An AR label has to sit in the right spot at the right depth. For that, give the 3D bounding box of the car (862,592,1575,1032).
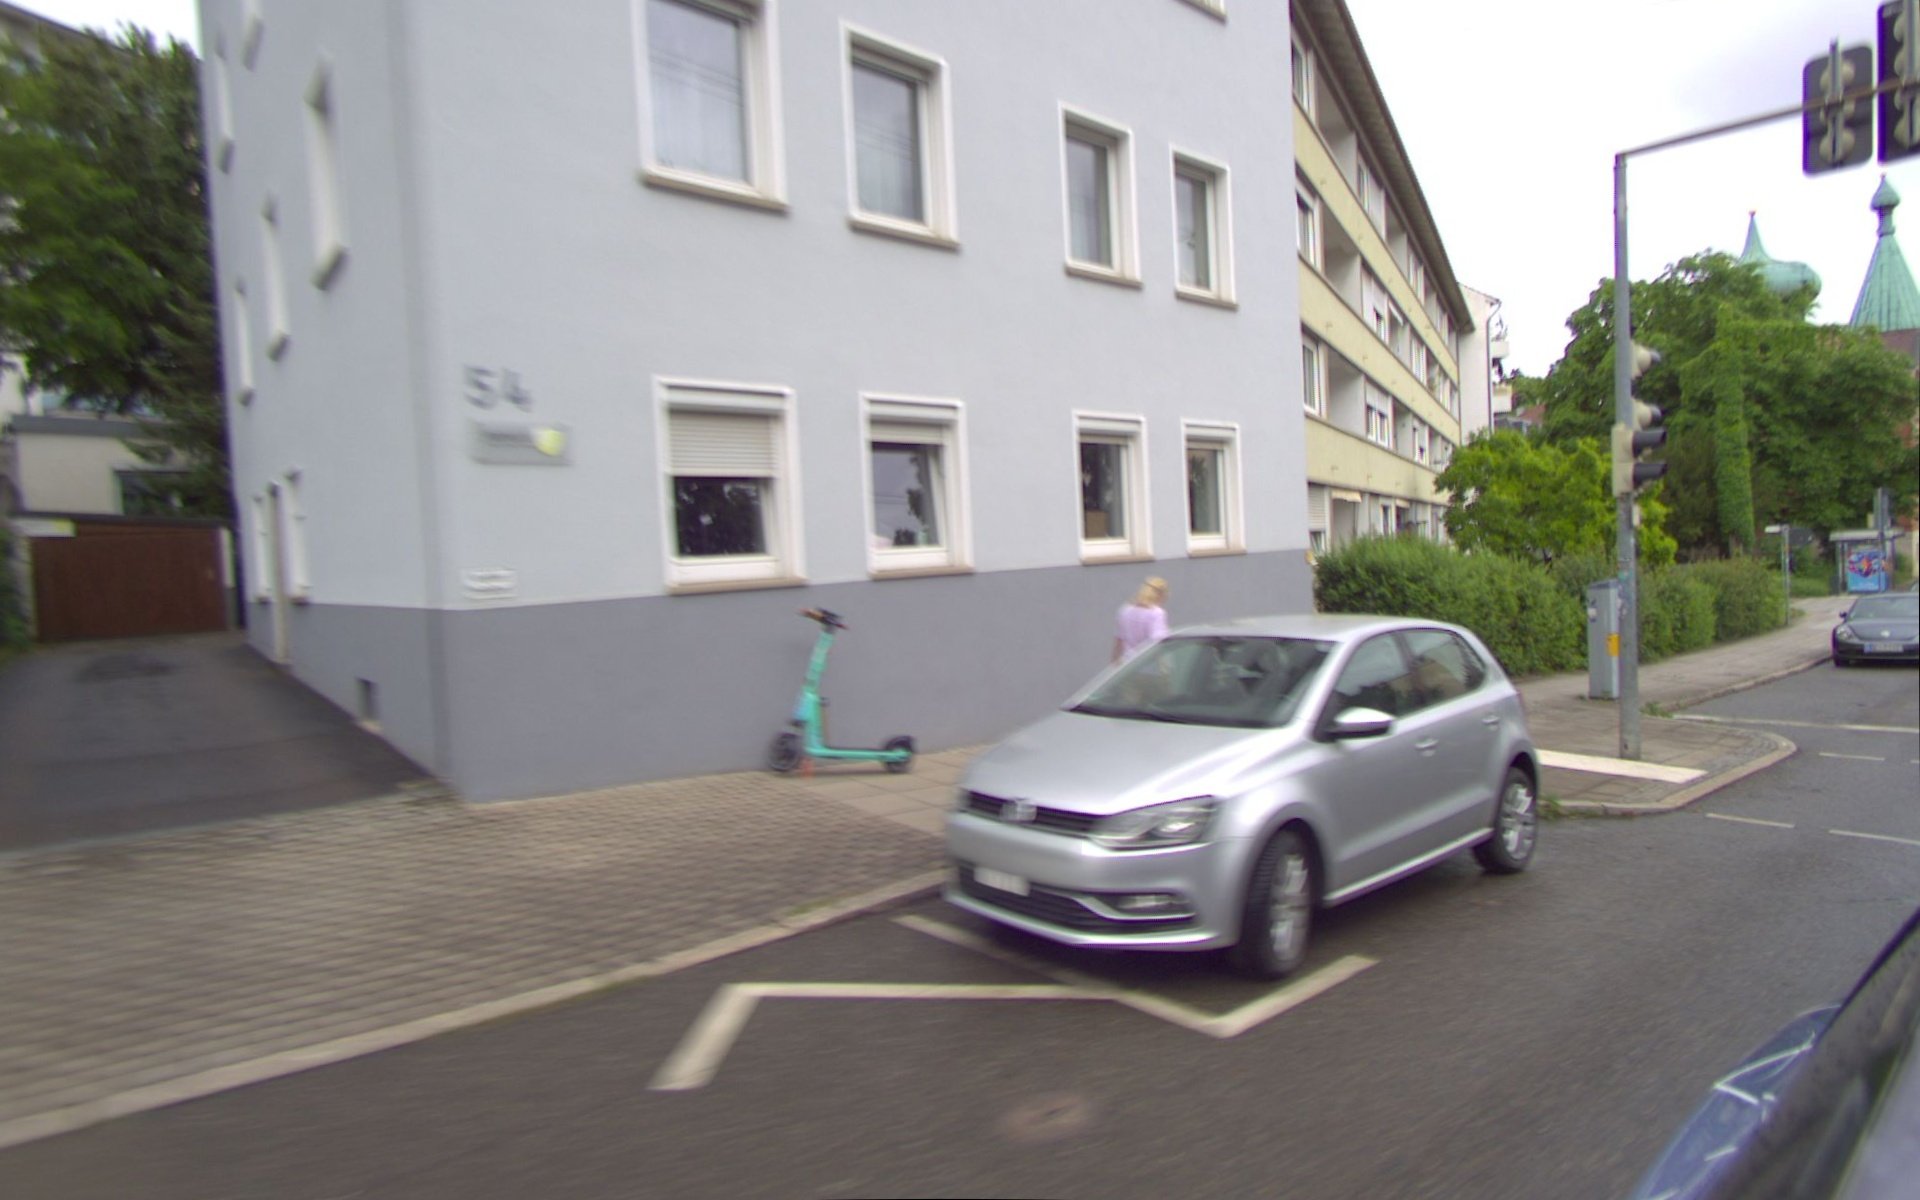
[{"bbox_3d":[1.618,0.707,5.383,4.031,1.451,1.707,-1,0,-42],"label":"car"}]

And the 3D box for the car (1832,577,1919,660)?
[{"bbox_3d":[19.961,0.326,21.315,4.137,1.482,1.942,-4,2,-43],"label":"car"}]

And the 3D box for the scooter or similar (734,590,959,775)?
[{"bbox_3d":[-0.838,0.594,7.687,1.579,1.265,0.576,2,0,-35],"label":"scooter or similar"}]

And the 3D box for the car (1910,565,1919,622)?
[{"bbox_3d":[28.631,-0.255,28.860,4.567,1.505,1.860,-4,2,-42],"label":"car"}]

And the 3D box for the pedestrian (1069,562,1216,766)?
[{"bbox_3d":[1.539,0.502,8.577,0.787,1.603,0.885,2,0,-38],"label":"pedestrian"}]

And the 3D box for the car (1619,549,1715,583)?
[{"bbox_3d":[35.999,-1.782,51.695,1.807,1.577,4.386,-3,3,1],"label":"car"}]

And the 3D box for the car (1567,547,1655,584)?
[{"bbox_3d":[32.934,-1.800,51.344,1.808,1.716,4.201,-3,3,2],"label":"car"}]
